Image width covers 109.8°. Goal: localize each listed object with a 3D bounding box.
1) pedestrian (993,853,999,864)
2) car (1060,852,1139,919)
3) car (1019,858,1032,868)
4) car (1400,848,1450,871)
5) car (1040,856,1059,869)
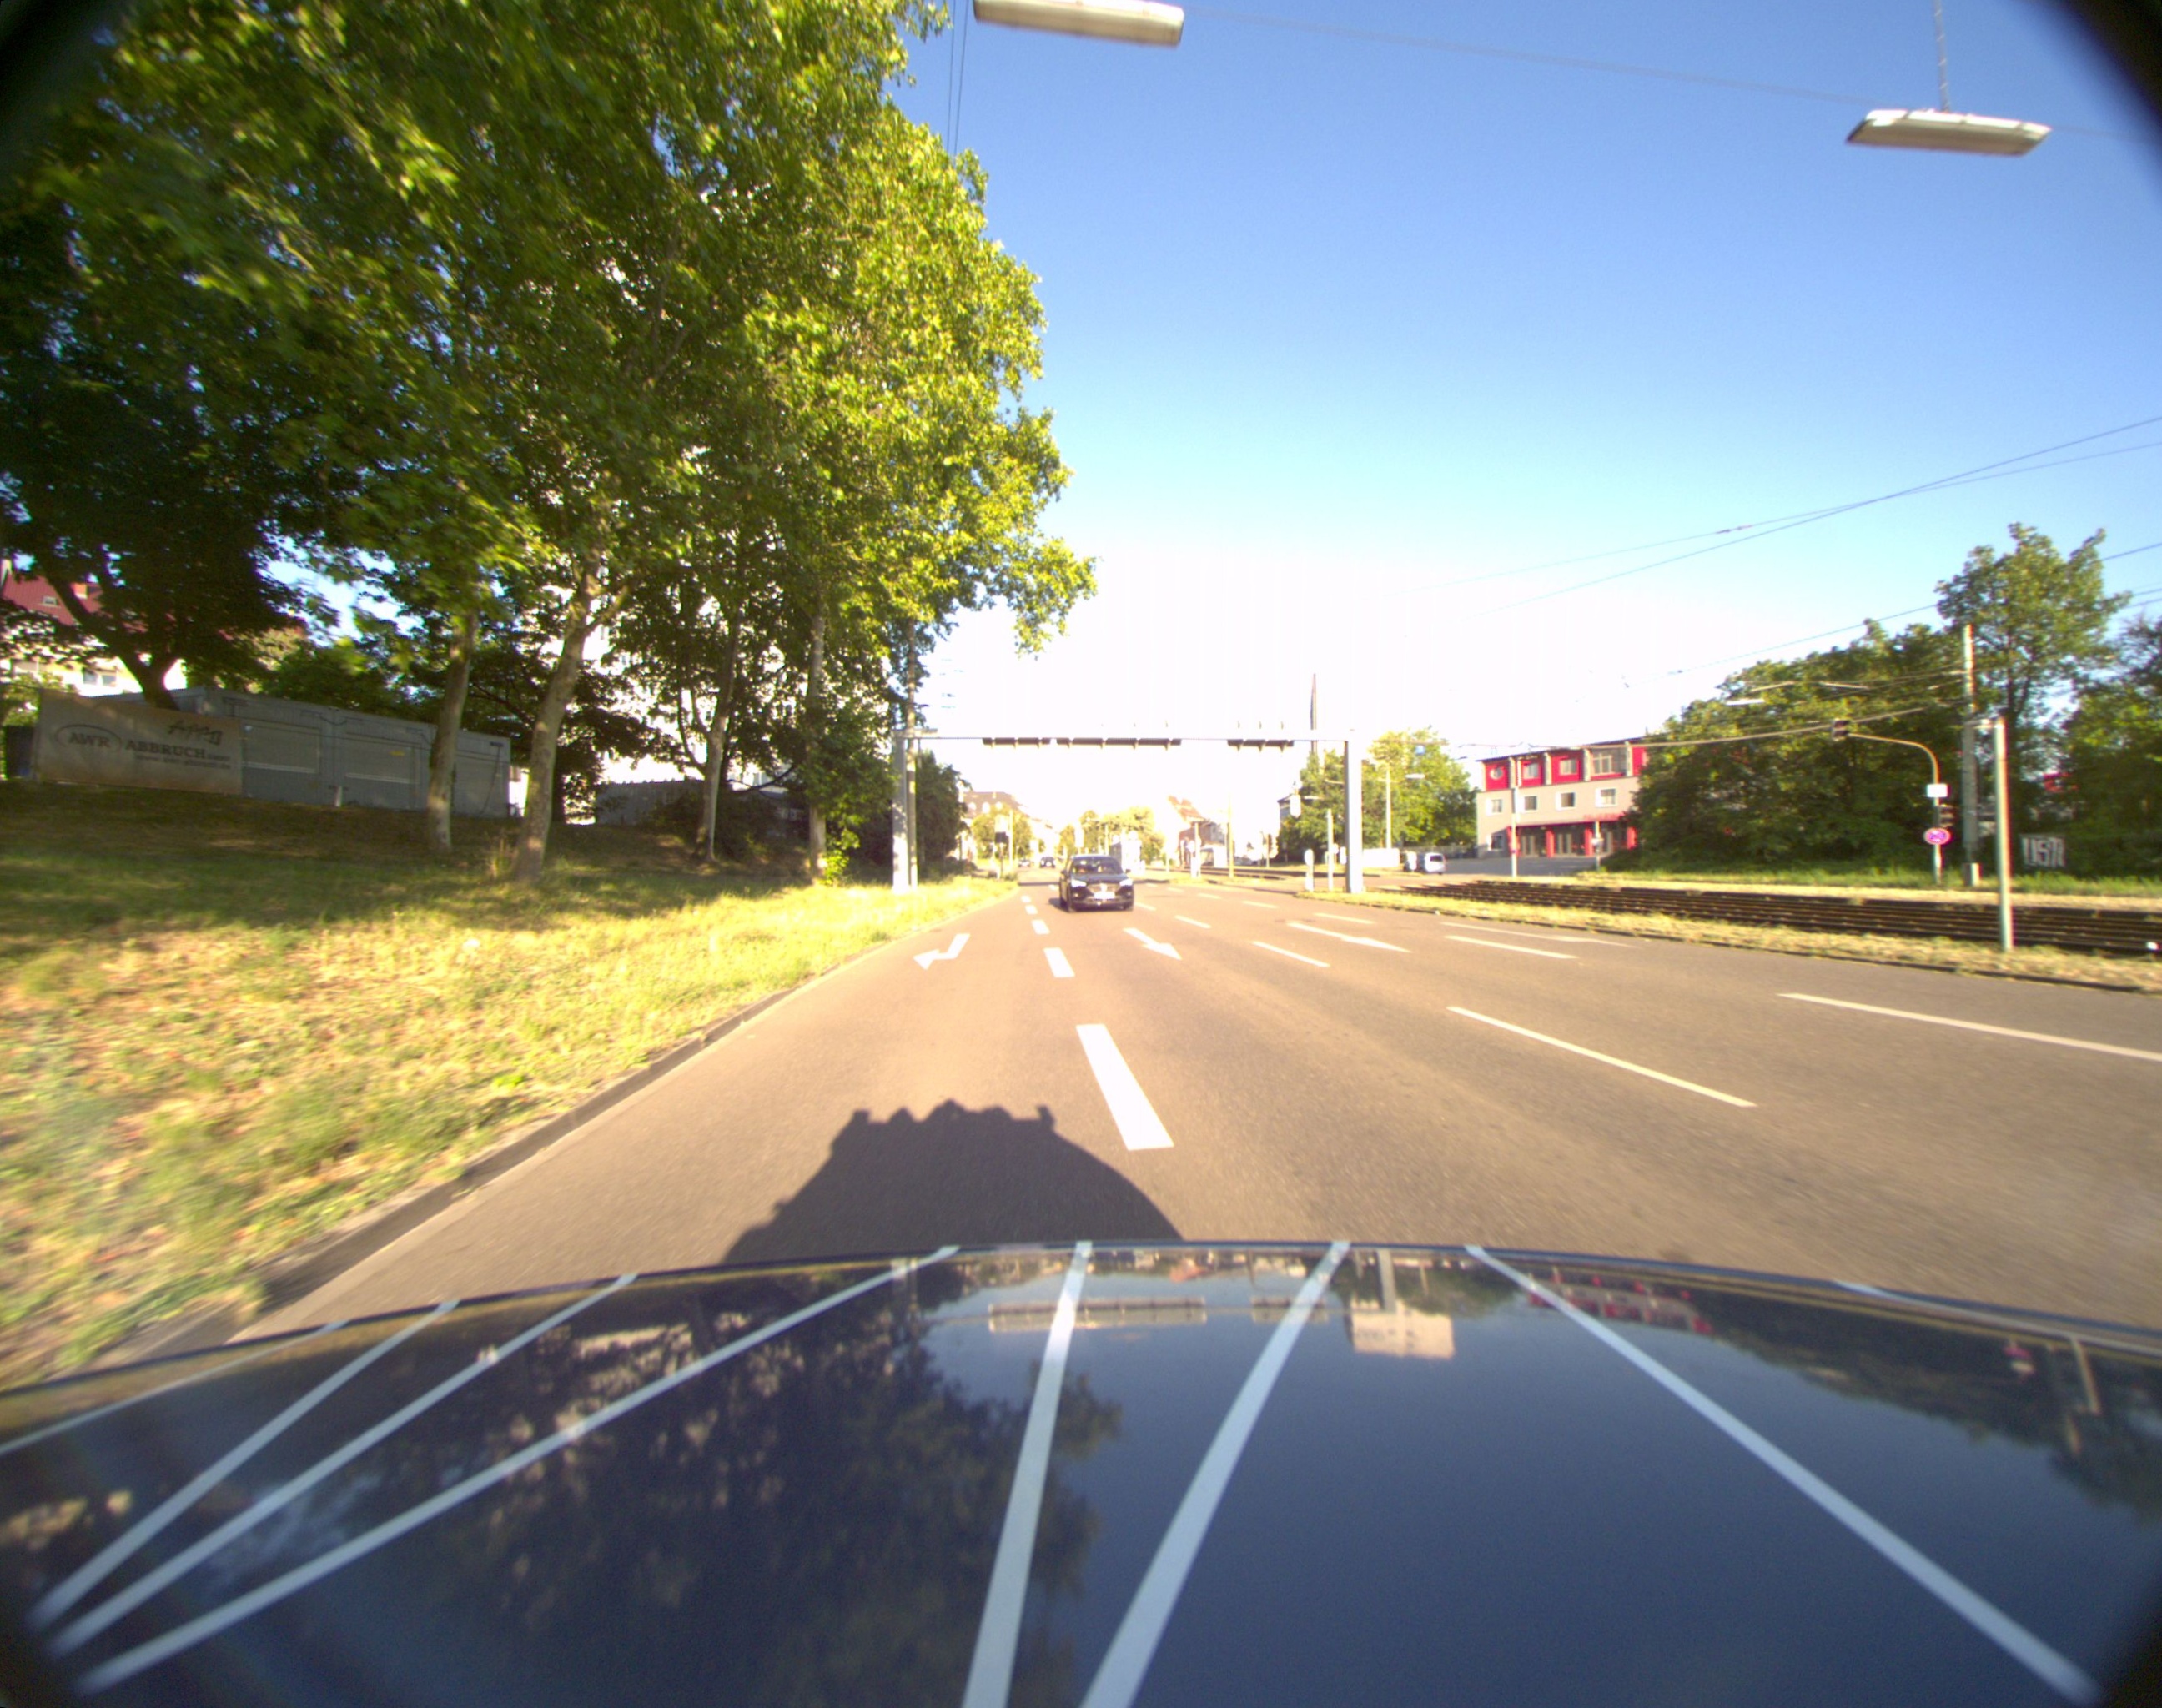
[{"bbox_3d":[-12.242,0.685,109.785,0.592,1.586,0.547,0,1,30],"label":"pedestrian"},{"bbox_3d":[0.428,0.808,22.054,1.819,1.670,4.621,-1,1,-4],"label":"car"},{"bbox_3d":[-8.151,1.308,111.900,1.742,1.429,3.998,-1,0,-6],"label":"car"},{"bbox_3d":[27.947,0.452,61.861,1.939,1.777,4.258,-1,-1,-3],"label":"car"},{"bbox_3d":[-4.032,1.059,97.076,1.907,1.652,4.273,-1,0,-8],"label":"car"}]
